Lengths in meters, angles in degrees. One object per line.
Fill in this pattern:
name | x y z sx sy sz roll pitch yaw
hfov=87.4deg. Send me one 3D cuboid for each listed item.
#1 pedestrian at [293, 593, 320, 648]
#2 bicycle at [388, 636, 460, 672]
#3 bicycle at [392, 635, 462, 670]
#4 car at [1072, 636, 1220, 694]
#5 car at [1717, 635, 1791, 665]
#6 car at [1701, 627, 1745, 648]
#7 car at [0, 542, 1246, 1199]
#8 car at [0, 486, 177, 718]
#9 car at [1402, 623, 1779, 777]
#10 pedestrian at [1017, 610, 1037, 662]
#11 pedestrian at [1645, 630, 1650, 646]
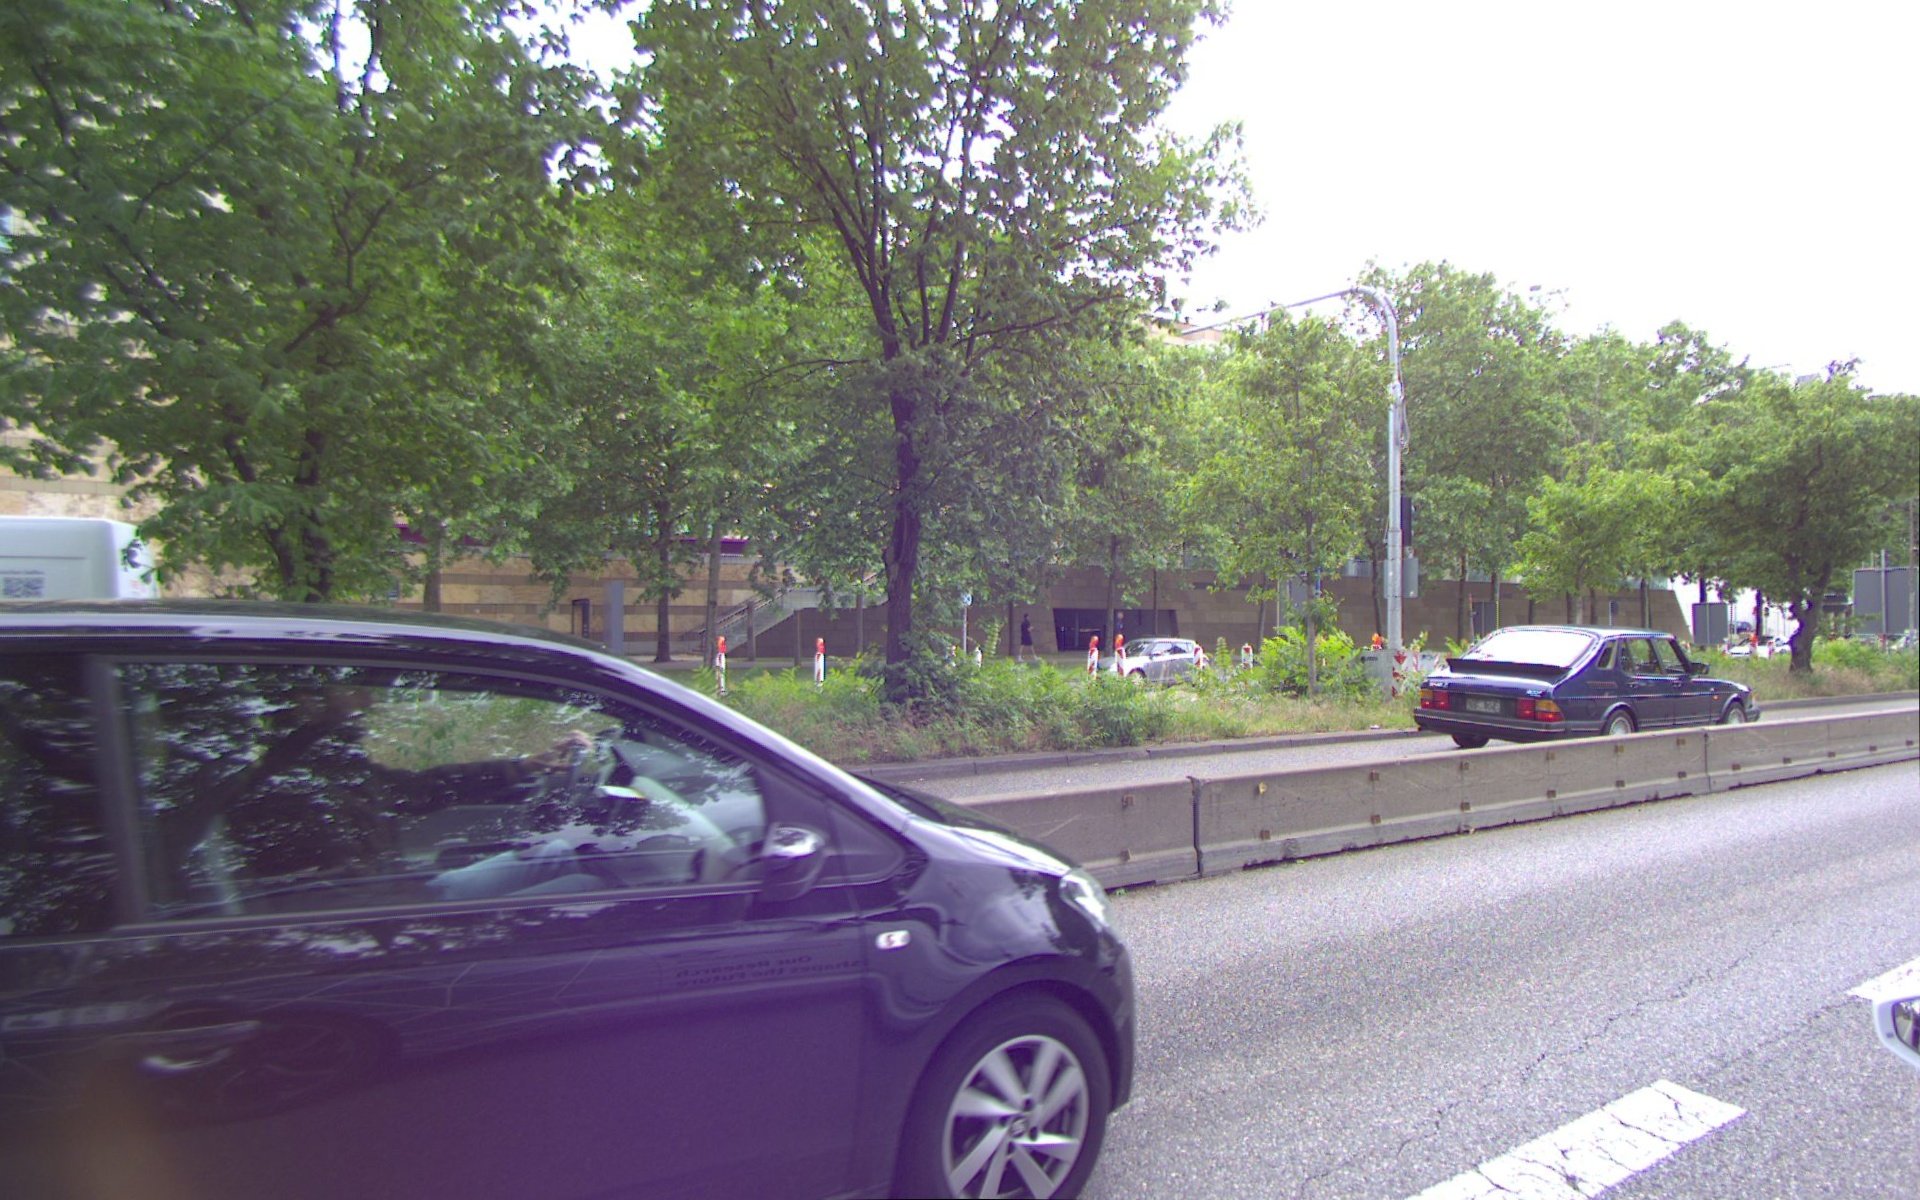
pedestrian | -19.294 0.608 29.638 0.616 1.590 0.434 1 -1 -38
bicycle | -15.822 1.597 29.678 1.821 1.008 0.487 2 1 -25
bicycle | -16.084 1.586 30.353 1.821 1.004 0.564 2 1 -25
car | 5.312 1.798 28.598 3.954 1.477 1.839 1 -1 -31
car | 38.779 2.409 49.046 3.760 1.401 1.652 1 -1 -31
car | 70.580 3.457 92.926 3.954 1.940 1.984 1 -1 -31
car | -1.206 0.687 2.360 3.580 1.493 1.600 1 -1 -30
car | -10.382 0.006 8.604 5.513 1.995 2.105 1 -1 -31
car | 6.969 0.955 10.972 4.491 1.385 1.670 1 -1 -31
pedestrian | 2.654 1.435 39.843 0.657 2.040 0.449 1 -1 -31
pedestrian | 45.763 2.539 66.883 0.212 1.093 0.258 2 1 42
